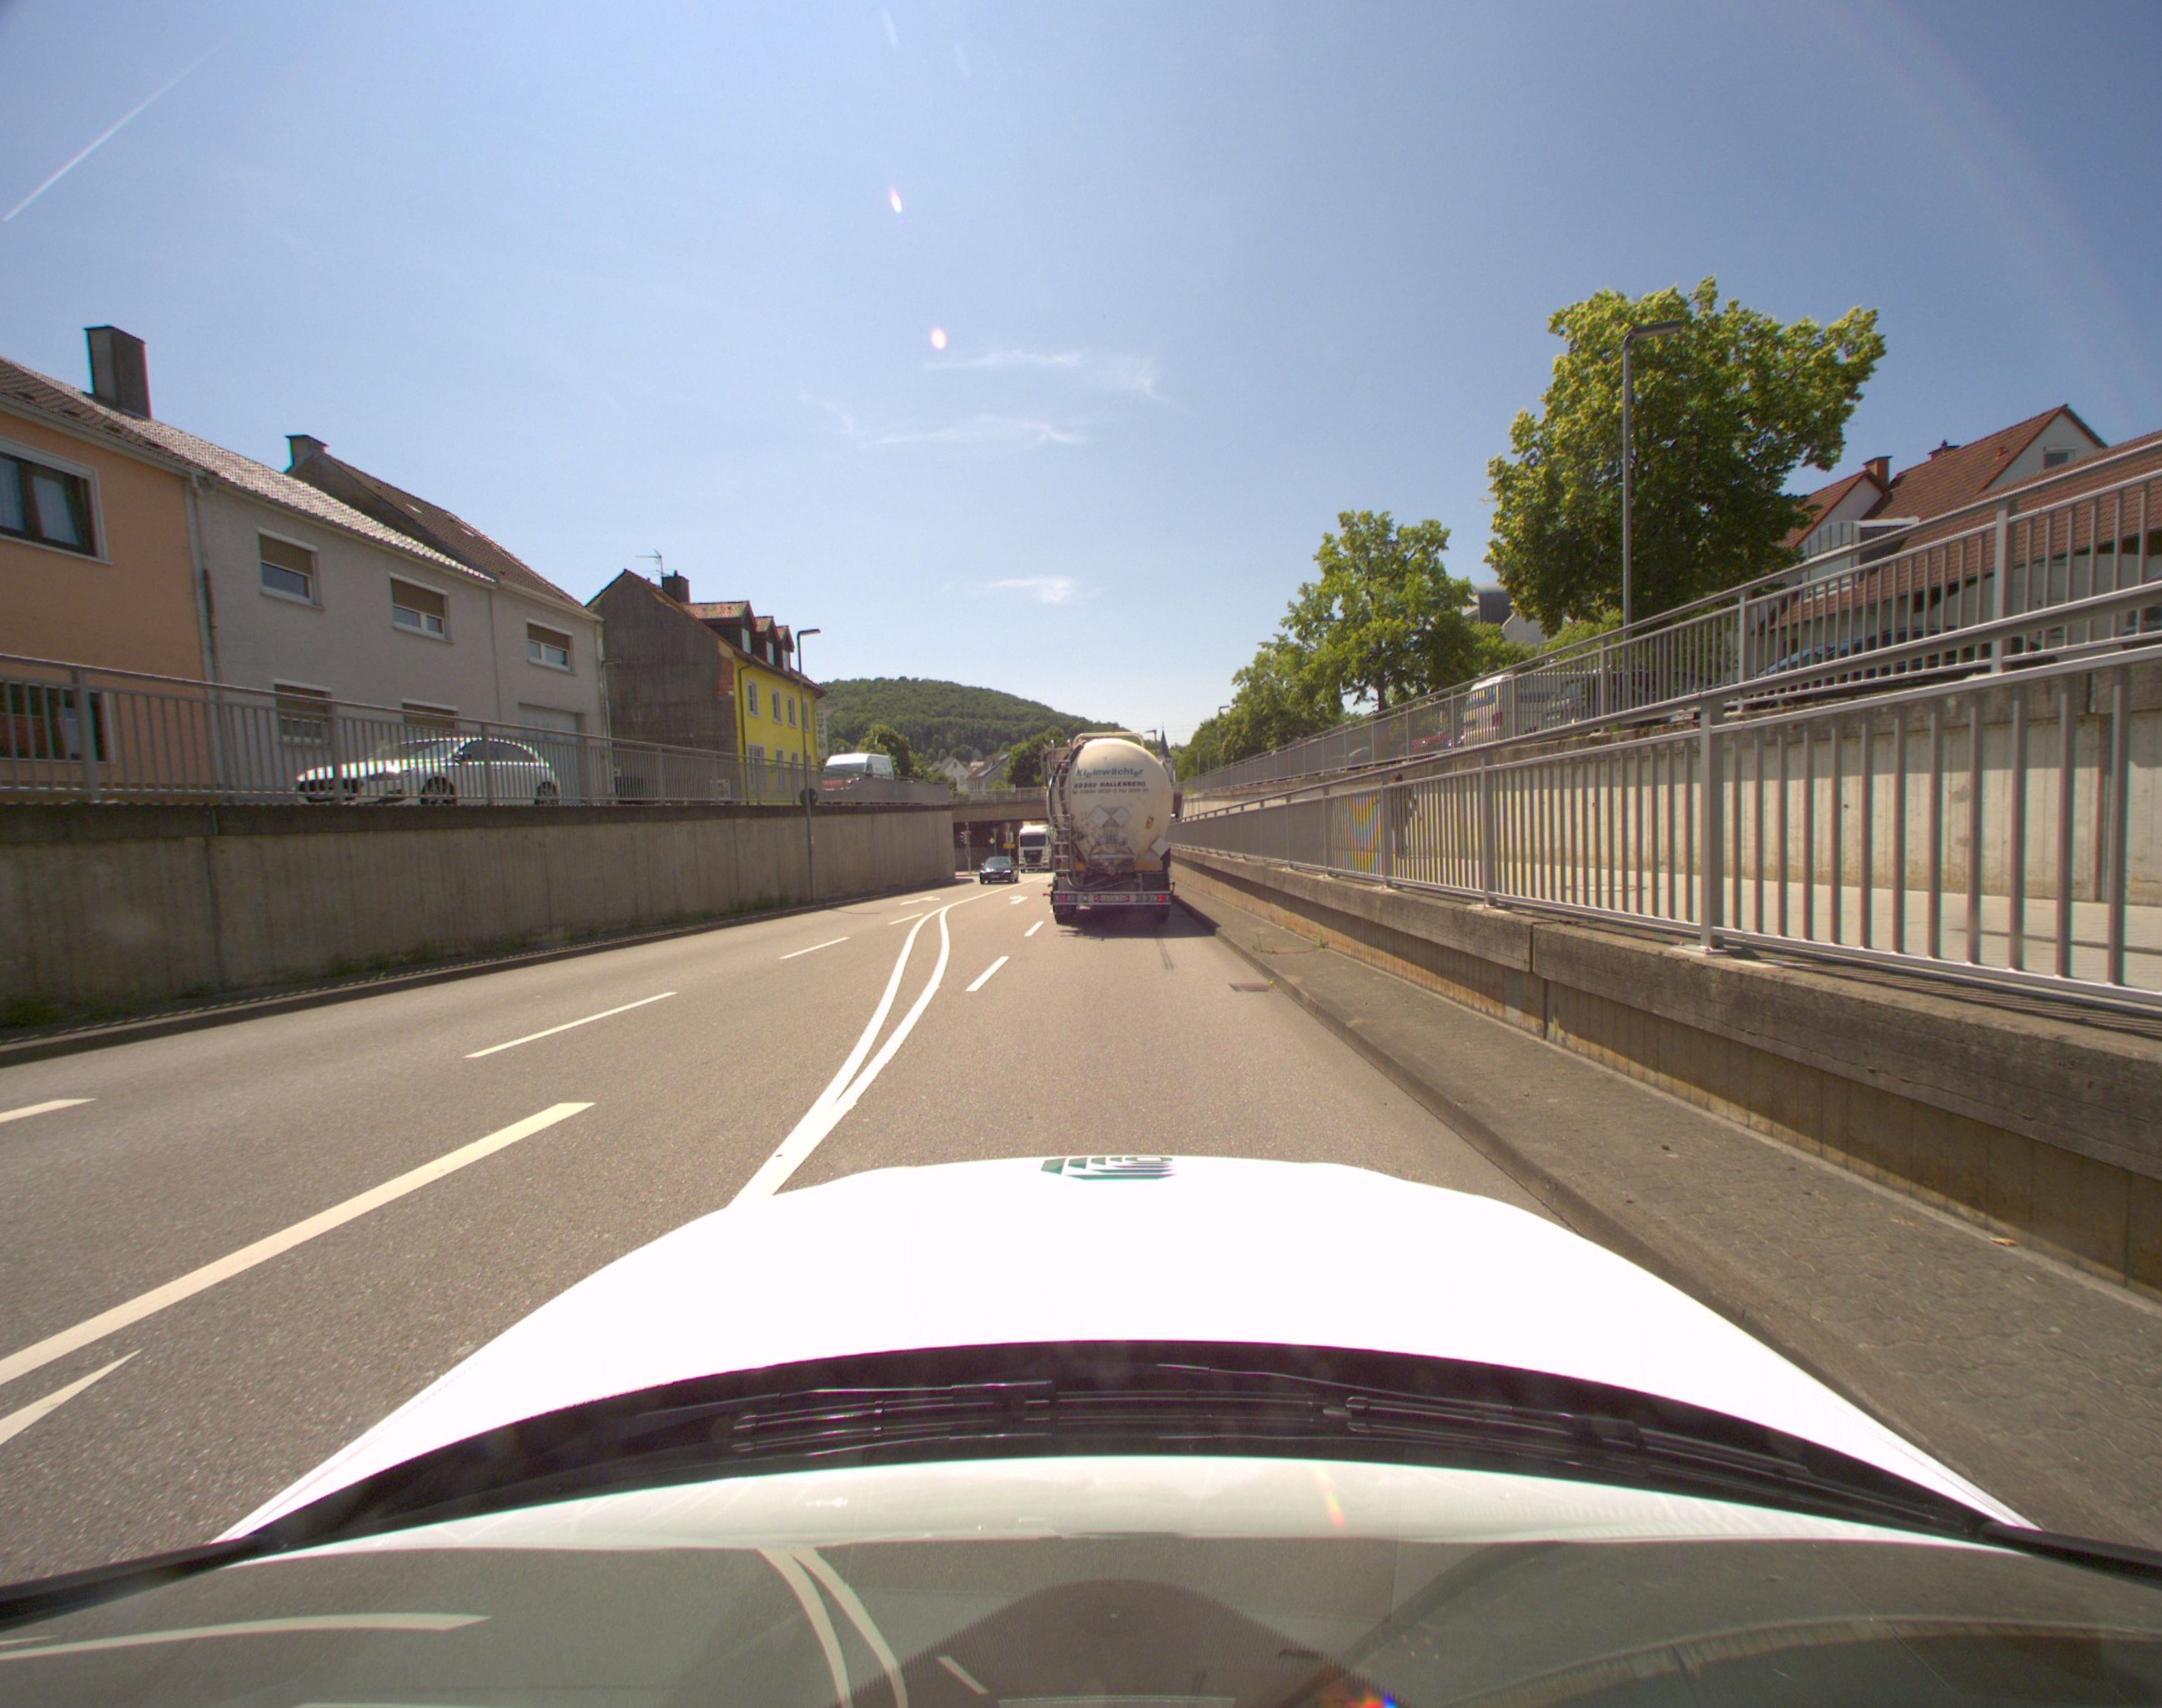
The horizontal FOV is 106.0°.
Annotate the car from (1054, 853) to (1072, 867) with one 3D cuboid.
[{"bbox_3d":[-2.030,0.651,90.850,1.675,1.440,4.097,1,0,3],"label":"car"}]

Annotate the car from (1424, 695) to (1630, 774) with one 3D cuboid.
[{"bbox_3d":[10.968,-2.928,20.248,4.187,1.595,1.688,-2,3,3],"label":"car"}]

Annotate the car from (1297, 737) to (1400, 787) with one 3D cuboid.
[{"bbox_3d":[11.445,-3.933,35.013,3.889,1.884,1.688,-2,3,3],"label":"car"}]

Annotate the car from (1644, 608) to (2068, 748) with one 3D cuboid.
[{"bbox_3d":[10.720,-2.407,11.535,4.268,1.498,1.750,-2,3,3],"label":"car"}]

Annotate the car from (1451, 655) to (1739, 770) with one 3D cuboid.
[{"bbox_3d":[11.217,-3.057,18.070,5.091,2.063,1.991,-2,3,3],"label":"car"}]

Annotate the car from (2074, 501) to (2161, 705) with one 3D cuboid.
[{"bbox_3d":[10.482,-2.051,5.982,4.187,1.498,1.688,-2,3,3],"label":"car"}]

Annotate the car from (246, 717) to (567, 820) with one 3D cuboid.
[{"bbox_3d":[-11.003,-1.350,13.819,1.808,1.462,4.309,-1,3,-1],"label":"car"}]

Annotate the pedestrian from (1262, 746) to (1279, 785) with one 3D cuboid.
[{"bbox_3d":[9.122,-4.250,39.165,0.670,1.779,0.595,-2,2,4],"label":"pedestrian"}]

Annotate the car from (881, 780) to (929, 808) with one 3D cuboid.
[{"bbox_3d":[-9.724,-3.288,45.206,1.612,1.500,4.047,-1,3,2],"label":"car"}]

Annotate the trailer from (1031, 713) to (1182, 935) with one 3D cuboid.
[{"bbox_3d":[0.856,-0.578,21.746,2.723,4.064,13.324,-1,0,3],"label":"trailer"}]

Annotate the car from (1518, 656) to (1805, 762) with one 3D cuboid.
[{"bbox_3d":[10.805,-2.671,15.381,4.187,1.595,1.688,-2,3,3],"label":"car"}]

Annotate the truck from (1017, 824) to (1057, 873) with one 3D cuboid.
[{"bbox_3d":[-3.640,-0.440,69.294,2.651,3.860,6.585,-1,0,3],"label":"truck"}]

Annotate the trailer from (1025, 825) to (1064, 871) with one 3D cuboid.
[{"bbox_3d":[-3.276,-0.486,75.005,2.599,3.964,9.353,-1,0,3],"label":"trailer"}]

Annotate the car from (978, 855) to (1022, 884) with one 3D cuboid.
[{"bbox_3d":[-4.427,0.826,45.250,1.753,1.489,4.371,-1,0,3],"label":"car"}]

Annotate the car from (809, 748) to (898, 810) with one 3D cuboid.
[{"bbox_3d":[-9.986,-3.236,36.310,2.057,2.535,5.667,0,3,3],"label":"car"}]

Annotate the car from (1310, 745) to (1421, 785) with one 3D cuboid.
[{"bbox_3d":[11.322,-3.541,32.582,3.889,1.367,1.688,-2,3,3],"label":"car"}]

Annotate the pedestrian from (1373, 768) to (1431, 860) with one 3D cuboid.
[{"bbox_3d":[6.471,-0.787,16.448,0.833,1.782,0.789,-2,0,2],"label":"pedestrian"}]

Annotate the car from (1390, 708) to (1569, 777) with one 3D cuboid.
[{"bbox_3d":[11.074,-3.081,22.850,4.187,1.595,1.688,-2,3,3],"label":"car"}]

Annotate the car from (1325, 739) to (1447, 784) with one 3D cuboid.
[{"bbox_3d":[11.233,-3.403,30.142,3.889,1.367,1.688,-2,3,3],"label":"car"}]
